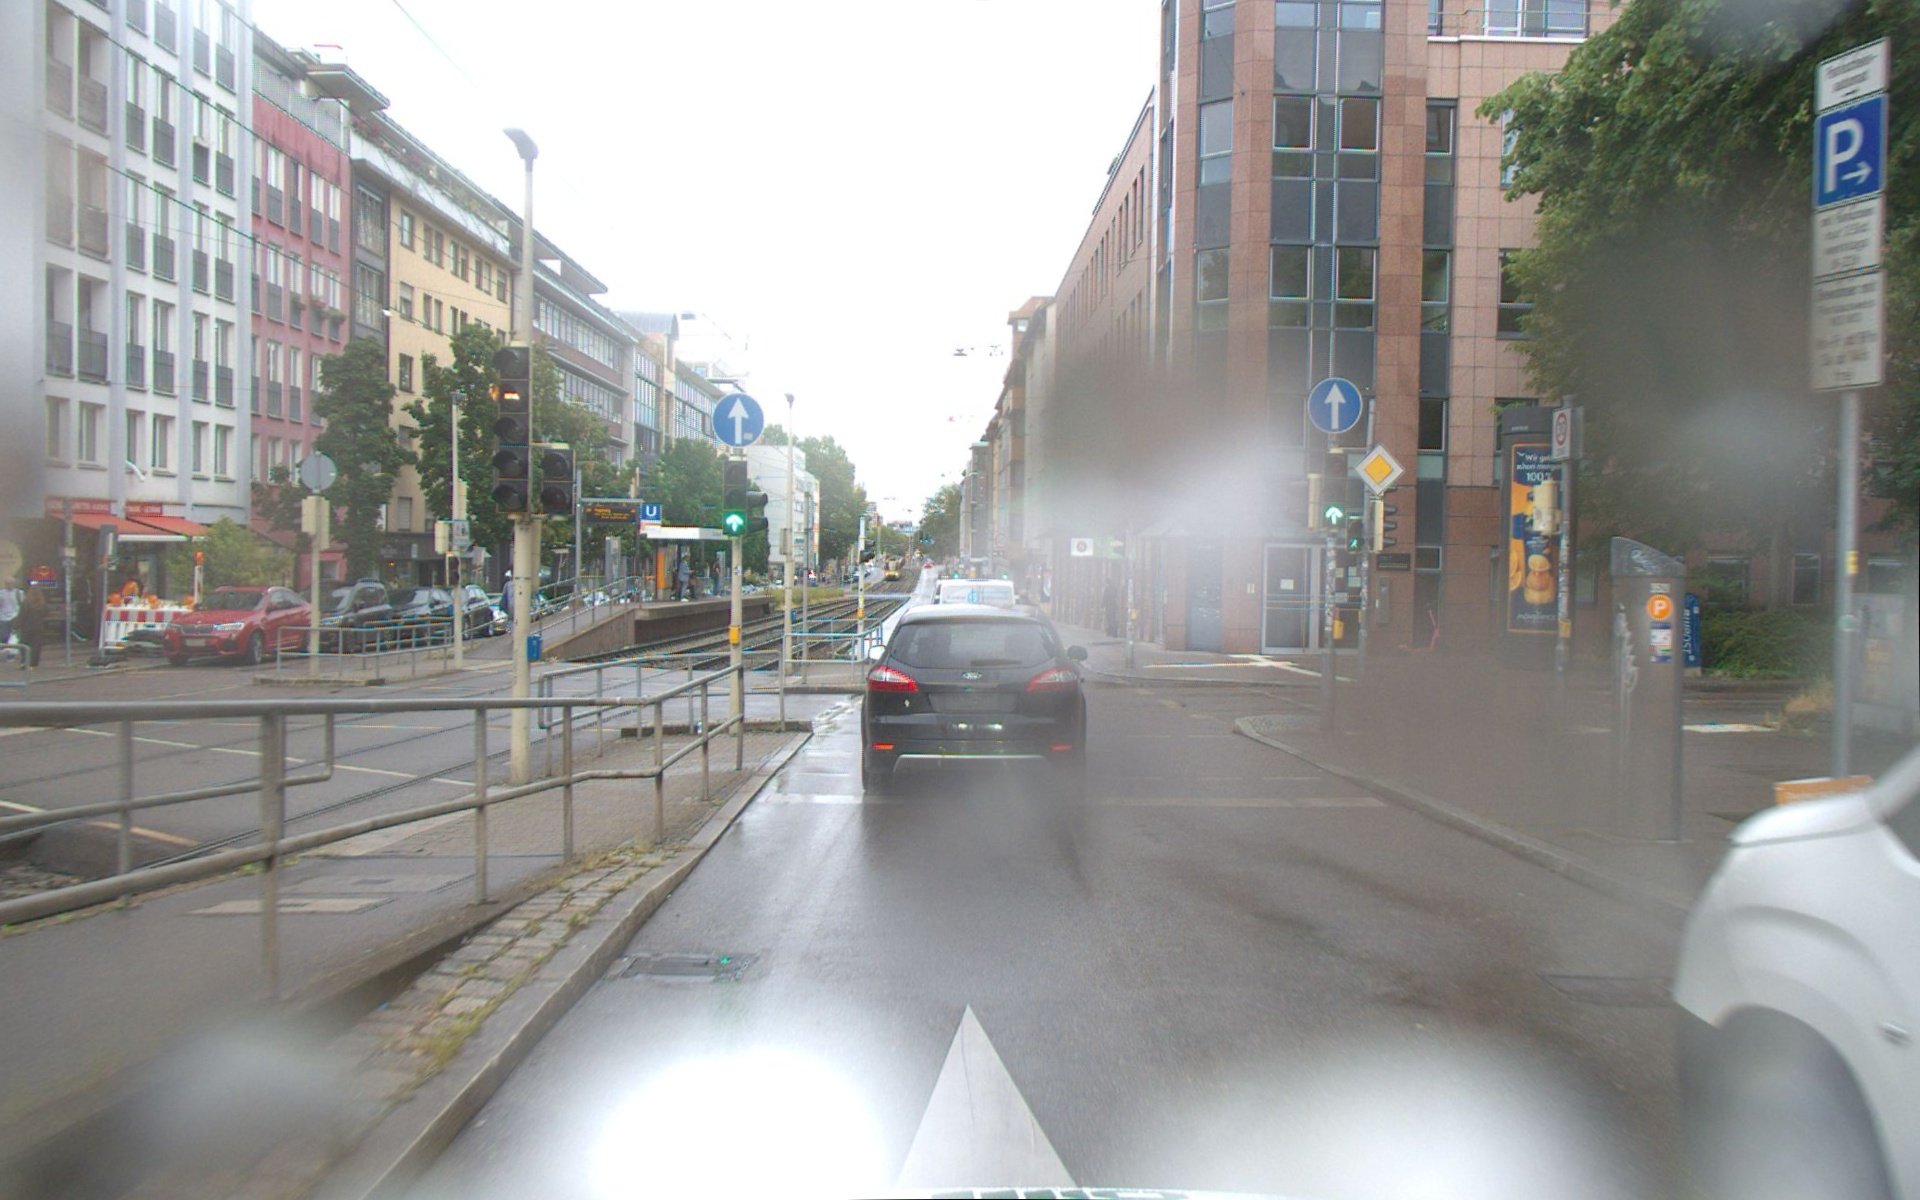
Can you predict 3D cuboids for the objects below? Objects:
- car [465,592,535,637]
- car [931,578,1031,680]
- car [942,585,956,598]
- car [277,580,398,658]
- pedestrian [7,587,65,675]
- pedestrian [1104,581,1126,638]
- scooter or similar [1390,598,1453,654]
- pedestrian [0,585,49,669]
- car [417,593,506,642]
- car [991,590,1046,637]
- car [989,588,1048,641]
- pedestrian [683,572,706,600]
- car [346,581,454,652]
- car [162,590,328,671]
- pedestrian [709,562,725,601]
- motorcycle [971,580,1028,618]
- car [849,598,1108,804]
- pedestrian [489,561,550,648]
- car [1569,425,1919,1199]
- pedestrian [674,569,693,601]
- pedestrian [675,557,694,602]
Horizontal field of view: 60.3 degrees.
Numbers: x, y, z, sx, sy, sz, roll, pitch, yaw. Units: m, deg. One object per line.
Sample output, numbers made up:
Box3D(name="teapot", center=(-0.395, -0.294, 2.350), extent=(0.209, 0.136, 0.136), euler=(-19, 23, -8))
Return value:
Box3D(name="car", center=(-15.798, 0.464, 56.958), extent=(1.537, 1.461, 3.976), euler=(0, 0, -4))
Box3D(name="car", center=(0.358, 0.548, 33.253), extent=(1.868, 1.897, 4.572), euler=(0, 0, -1))
Box3D(name="car", center=(-1.430, -1.153, 221.424), extent=(1.867, 1.662, 4.573), euler=(0, 0, 0))
Box3D(name="car", center=(-15.812, 0.440, 42.243), extent=(1.673, 1.890, 4.318), euler=(0, 0, -3))
Box3D(name="pedestrian", center=(-18.110, 0.592, 32.417), extent=(0.801, 1.660, 0.869), euler=(-1, 3, -42))
Box3D(name="pedestrian", center=(4.592, 0.281, 49.119), extent=(0.589, 1.688, 0.625), euler=(0, 0, -1))
Box3D(name="scooter or similar", center=(10.432, 0.585, 37.393), extent=(1.345, 1.248, 0.325), euler=(0, 0, 2))
Box3D(name="pedestrian", center=(-19.819, 0.565, 34.786), extent=(0.804, 1.727, 0.984), euler=(2, 0, -9))
Box3D(name="car", center=(-15.788, 0.526, 52.597), extent=(1.804, 1.461, 4.316), euler=(0, 0, -4))
Box3D(name="car", center=(1.955, 0.452, 56.244), extent=(1.664, 1.488, 3.866), euler=(-2, 0, -1))
Box3D(name="car", center=(1.753, 0.432, 50.655), extent=(1.664, 1.505, 3.867), euler=(-2, 0, 0))
Box3D(name="pedestrian", center=(-11.043, -0.594, 68.789), extent=(0.876, 1.143, 0.847), euler=(0, 0, -12))
Box3D(name="car", center=(-15.745, 0.425, 46.730), extent=(1.766, 1.890, 4.377), euler=(0, 0, -3))
Box3D(name="car", center=(-15.710, 0.623, 36.609), extent=(1.690, 1.640, 4.553), euler=(0, 1, 0))
Box3D(name="pedestrian", center=(-11.411, -0.853, 77.637), extent=(0.642, 1.833, 0.849), euler=(0, 0, -3))
Box3D(name="motorcycle", center=(1.499, -0.020, 63.299), extent=(2.040, 1.432, 0.799), euler=(0, 0, 17))
Box3D(name="car", center=(0.118, 0.736, 13.674), extent=(1.868, 1.488, 3.444), euler=(0, 0, -1))
Box3D(name="pedestrian", center=(-10.573, 0.105, 39.760), extent=(1.093, 2.049, 1.383), euler=(0, 0, -1))
Box3D(name="car", center=(2.612, 0.622, 1.921), extent=(1.868, 1.838, 4.774), euler=(0, 0, -3))
Box3D(name="pedestrian", center=(-11.118, -0.596, 66.498), extent=(0.679, 1.271, 0.884), euler=(0, 0, -3))
Box3D(name="pedestrian", center=(-10.688, -0.800, 64.226), extent=(0.642, 1.741, 0.849), euler=(0, 0, -3))
